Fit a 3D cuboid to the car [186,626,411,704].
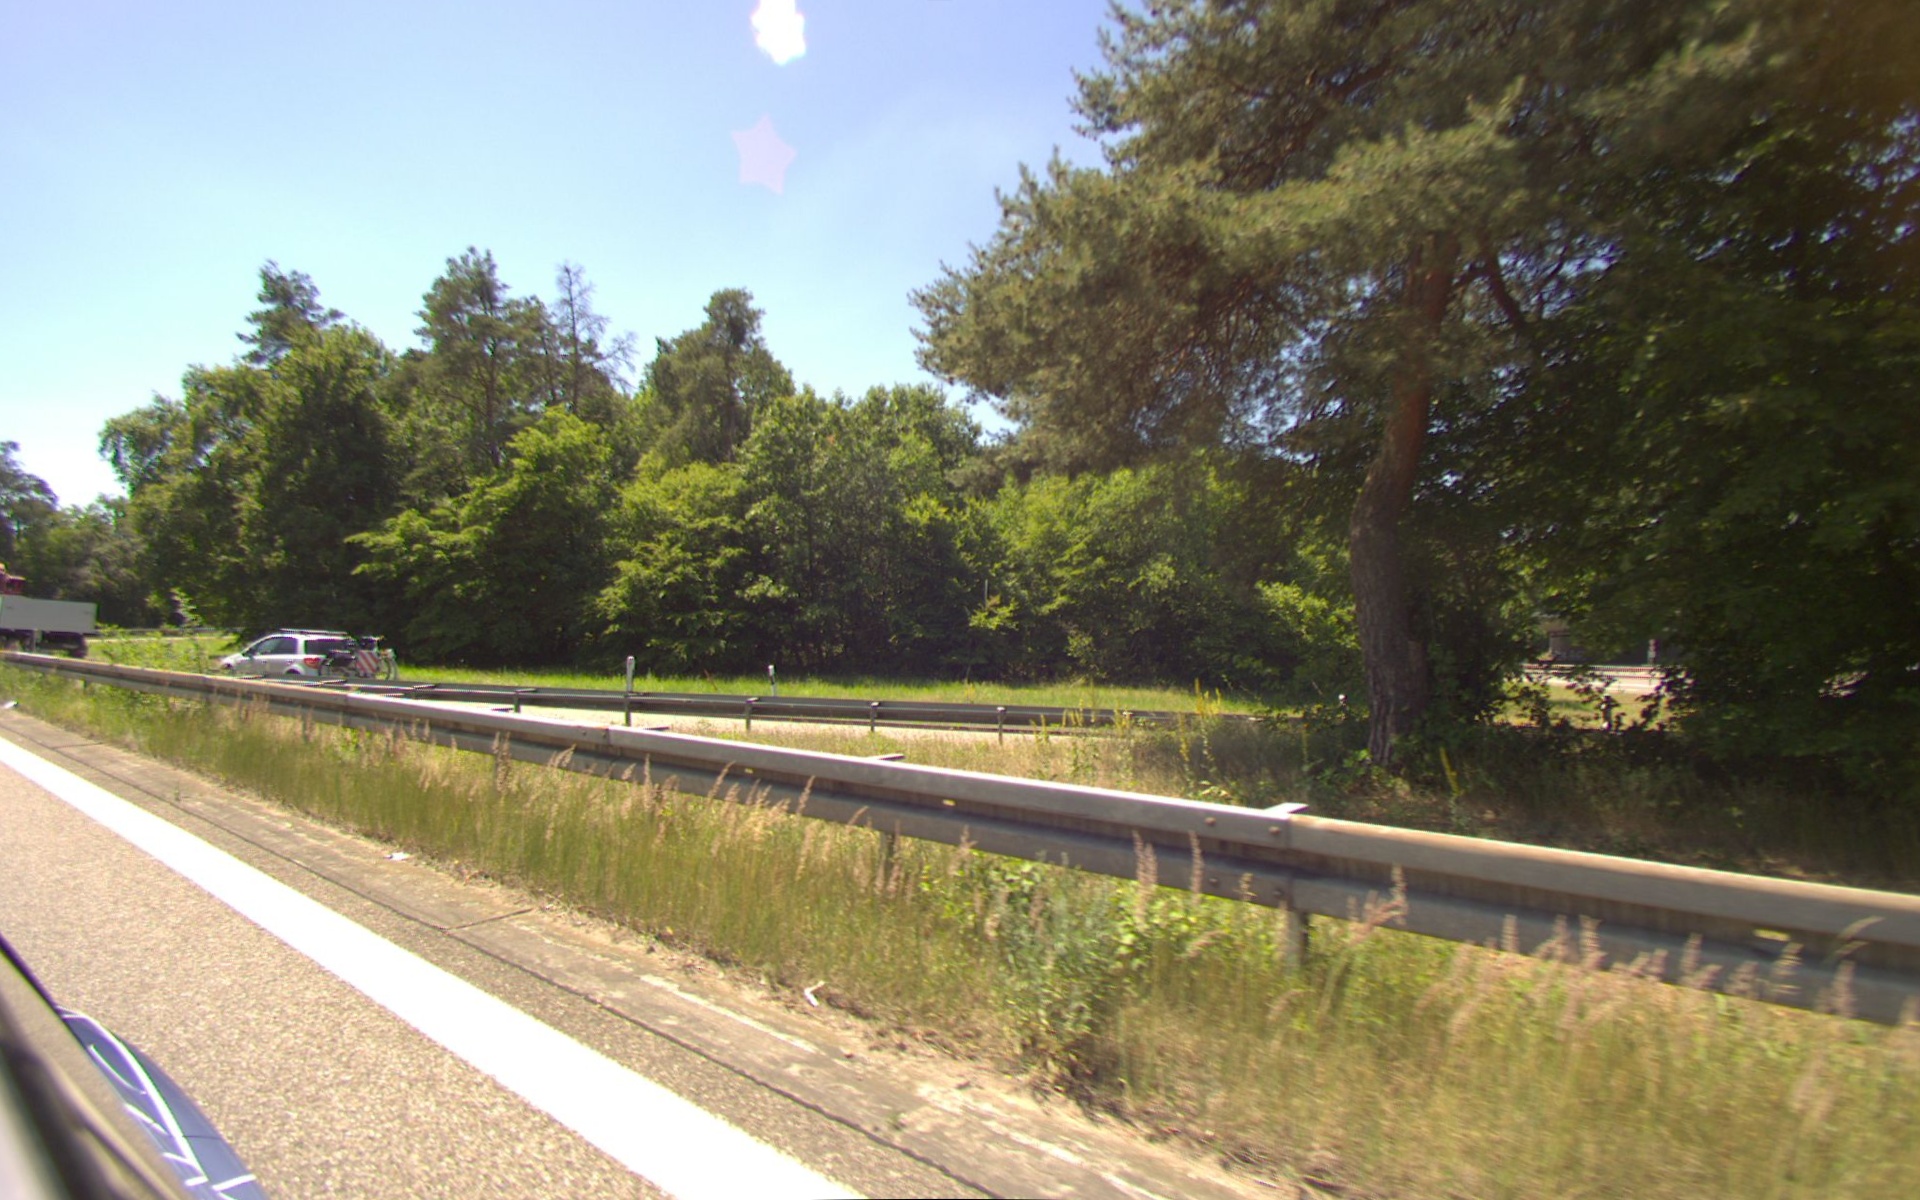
[{"bbox_3d":[-16.089,1.540,24.592,5.239,1.653,1.984,0,-3,24],"label":"car"}]
